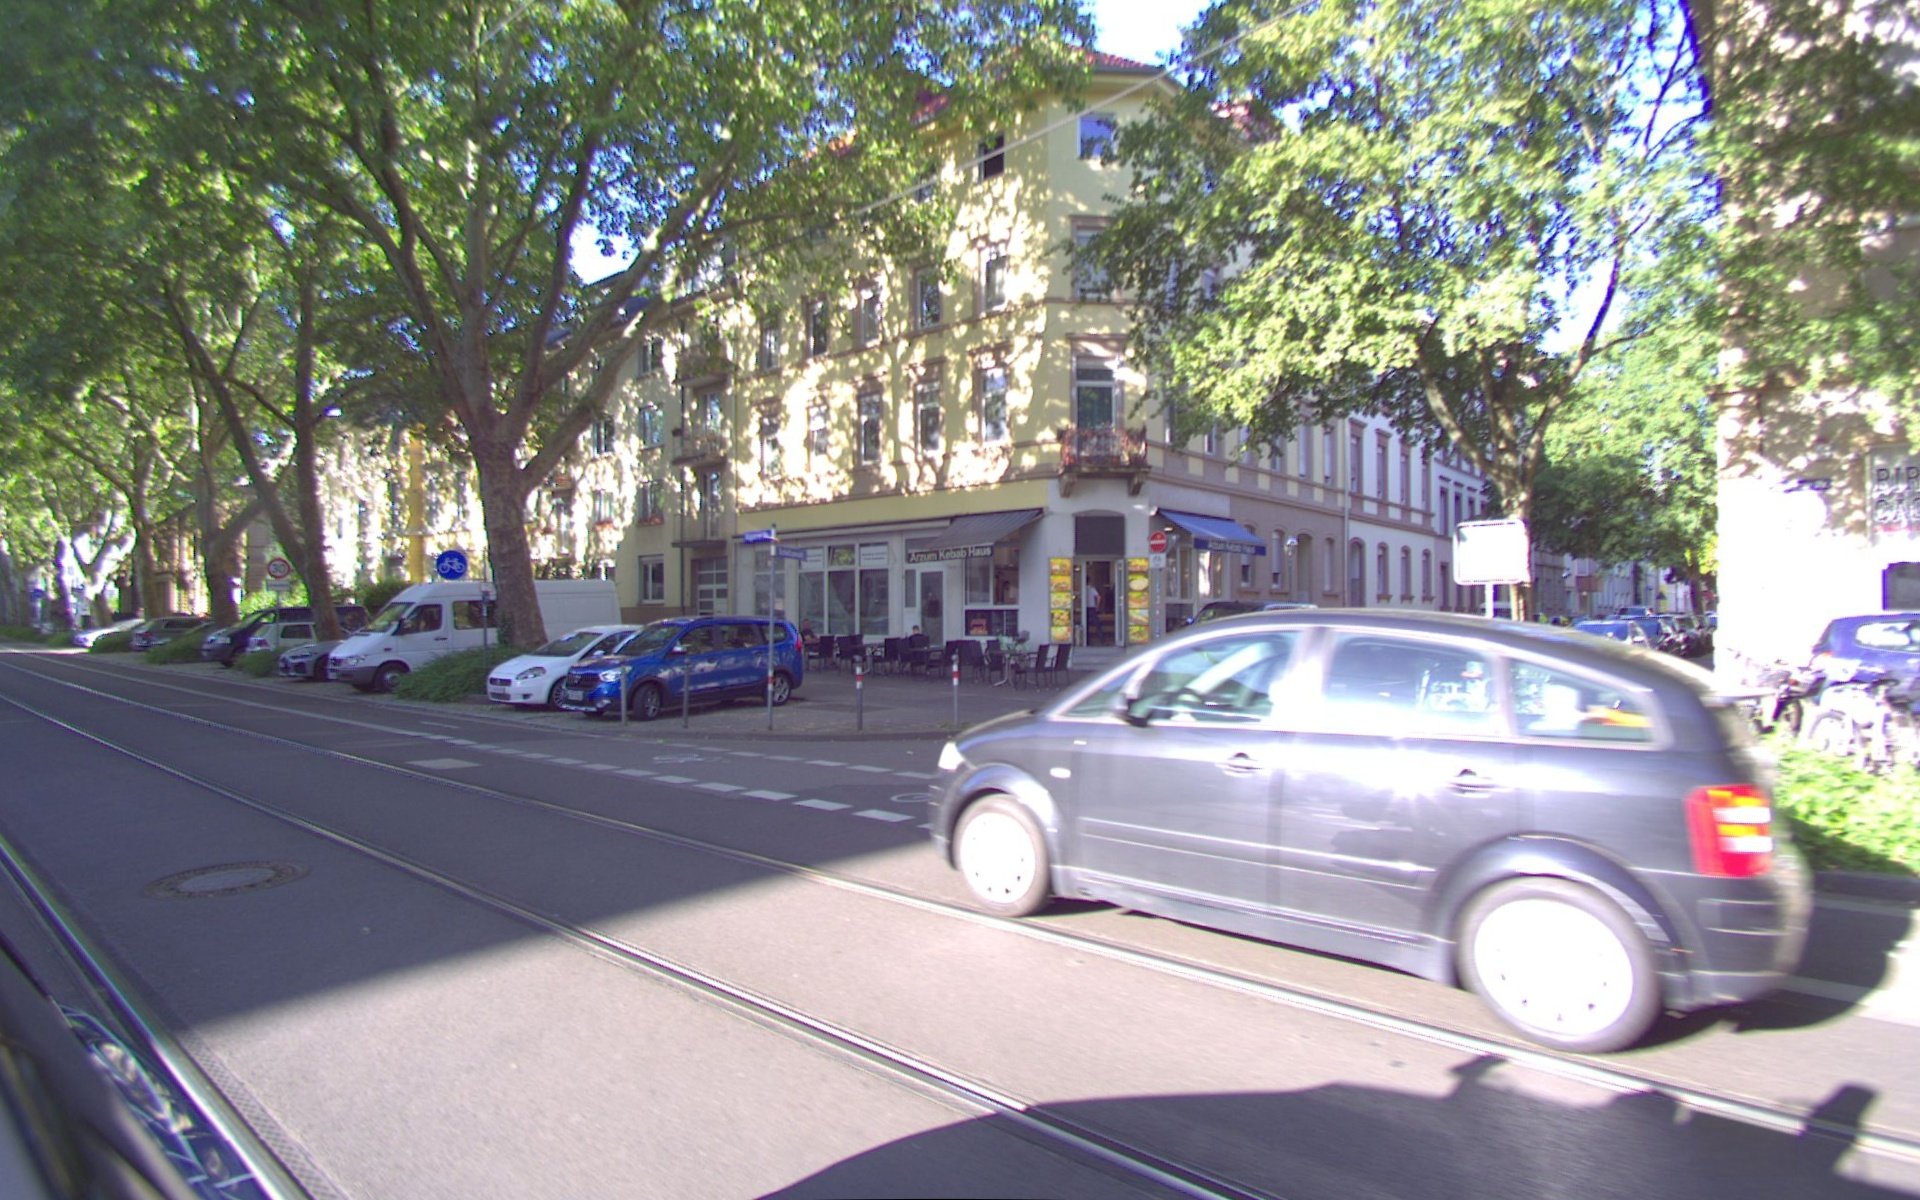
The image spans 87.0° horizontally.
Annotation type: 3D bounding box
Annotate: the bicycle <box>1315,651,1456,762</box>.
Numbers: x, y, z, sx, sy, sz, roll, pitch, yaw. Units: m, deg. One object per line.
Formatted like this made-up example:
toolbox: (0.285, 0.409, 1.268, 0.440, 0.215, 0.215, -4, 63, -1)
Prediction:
bicycle: (4.679, 1.128, 11.075, 1.830, 1.096, 0.397, 0, -1, -31)

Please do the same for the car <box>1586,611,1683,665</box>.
car: (19.207, 1.039, 28.761, 1.756, 1.421, 3.859, -1, -1, 42)

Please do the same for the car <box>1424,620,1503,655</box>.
car: (18.397, 1.341, 36.931, 1.756, 1.186, 3.351, -1, -1, 42)

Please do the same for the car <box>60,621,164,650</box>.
car: (-43.951, 1.827, 52.501, 1.410, 1.385, 3.949, -1, -1, 38)

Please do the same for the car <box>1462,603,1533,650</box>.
car: (21.586, 1.031, 40.581, 1.756, 1.802, 3.351, -1, -1, 42)

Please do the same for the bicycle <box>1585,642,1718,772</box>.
bicycle: (6.444, 0.955, 9.412, 1.536, 1.096, 0.397, 0, -1, -31)

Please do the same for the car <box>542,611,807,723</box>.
car: (-4.885, 1.066, 17.844, 1.814, 1.725, 4.278, -1, -1, 38)

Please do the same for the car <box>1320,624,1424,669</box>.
car: (11.968, 1.320, 29.332, 1.756, 1.186, 3.351, -1, -1, 42)

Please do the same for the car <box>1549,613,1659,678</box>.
car: (16.025, 1.079, 25.111, 1.756, 1.475, 3.351, -1, -1, 42)

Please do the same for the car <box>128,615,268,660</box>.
car: (-31.643, 1.532, 42.099, 1.999, 1.625, 4.309, -2, 0, 41)

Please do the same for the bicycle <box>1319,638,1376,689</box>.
bicycle: (8.510, 1.363, 22.188, 0.628, 1.039, 1.852, -1, -2, 38)

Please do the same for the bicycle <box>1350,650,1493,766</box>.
bicycle: (4.907, 1.108, 10.715, 1.830, 1.096, 0.397, 0, -1, -31)

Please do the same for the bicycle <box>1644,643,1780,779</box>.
bicycle: (6.741, 0.954, 9.050, 1.536, 1.096, 0.397, 0, -1, -31)

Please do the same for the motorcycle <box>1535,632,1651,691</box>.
motorcycle: (12.045, 1.148, 19.317, 1.830, 1.080, 0.526, -1, -1, 29)

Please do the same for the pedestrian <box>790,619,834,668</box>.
pedestrian: (-3.882, 1.136, 26.536, 0.930, 1.250, 0.699, -1, -1, 43)

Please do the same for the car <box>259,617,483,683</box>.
car: (-15.927, 1.300, 27.571, 1.999, 1.456, 4.880, -2, 0, 41)

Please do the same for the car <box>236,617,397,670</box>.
car: (-20.744, 1.363, 32.733, 1.868, 1.456, 4.016, -2, 0, 41)

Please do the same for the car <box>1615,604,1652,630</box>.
car: (46.033, 1.186, 69.164, 1.753, 1.712, 3.354, -1, -1, 39)

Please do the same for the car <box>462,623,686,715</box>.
car: (-7.238, 1.218, 19.301, 1.742, 1.529, 3.741, -1, -1, 31)

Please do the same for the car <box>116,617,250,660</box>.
car: (-33.623, 1.642, 43.879, 1.999, 1.625, 4.309, -2, 0, 41)

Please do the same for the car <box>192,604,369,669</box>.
car: (-22.847, 1.184, 34.165, 1.920, 1.922, 4.581, -2, 0, 40)

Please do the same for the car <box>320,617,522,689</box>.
car: (-13.617, 1.258, 25.746, 1.903, 1.509, 4.103, -1, 1, 40)

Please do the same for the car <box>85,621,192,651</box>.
car: (-41.335, 1.783, 51.009, 1.599, 1.441, 3.949, -1, -1, 38)

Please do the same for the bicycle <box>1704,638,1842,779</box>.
bicycle: (6.977, 0.890, 8.669, 1.536, 1.096, 0.397, 0, -1, -31)

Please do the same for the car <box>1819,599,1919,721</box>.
car: (12.777, 0.716, 12.287, 3.485, 1.471, 1.583, -1, -1, 39)

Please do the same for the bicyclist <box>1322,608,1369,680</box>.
bicyclist: (8.431, 0.942, 22.129, 0.735, 1.538, 0.858, -2, -2, 38)

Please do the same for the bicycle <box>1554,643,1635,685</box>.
bicycle: (13.801, 1.382, 22.032, 1.452, 0.866, 0.393, -1, -1, 43)

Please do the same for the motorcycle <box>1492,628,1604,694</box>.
motorcycle: (12.019, 1.222, 20.741, 0.581, 1.271, 1.877, 1, -1, -43)

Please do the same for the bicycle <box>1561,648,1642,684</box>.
bicycle: (14.232, 1.453, 22.470, 1.452, 0.738, 0.393, -1, -1, 43)

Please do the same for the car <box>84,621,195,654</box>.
car: (-39.683, 1.780, 49.039, 1.526, 1.441, 3.949, -1, -1, 38)

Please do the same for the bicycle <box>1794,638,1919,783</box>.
bicycle: (7.551, 0.878, 8.447, 1.536, 1.096, 0.397, 0, -1, -31)

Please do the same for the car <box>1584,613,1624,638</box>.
car: (39.073, 1.547, 61.381, 1.661, 1.492, 3.354, -1, -1, 39)

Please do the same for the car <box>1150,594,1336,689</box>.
car: (6.537, 0.857, 23.122, 2.130, 1.894, 4.520, 2, 1, 45)

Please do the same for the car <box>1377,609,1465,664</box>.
car: (15.102, 1.169, 33.090, 1.756, 1.706, 3.131, -1, -1, 42)

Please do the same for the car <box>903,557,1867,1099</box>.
car: (1.638, 0.697, 4.675, 3.688, 1.521, 1.619, -1, -3, 40)

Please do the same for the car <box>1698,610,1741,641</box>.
car: (39.649, 1.338, 52.825, 1.606, 1.564, 3.273, -1, -2, 40)

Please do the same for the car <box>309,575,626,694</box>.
car: (-11.554, 0.684, 24.307, 1.999, 2.426, 6.533, -2, 0, 41)

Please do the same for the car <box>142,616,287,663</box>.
car: (-29.602, 1.531, 40.297, 1.999, 1.625, 4.309, -2, 0, 41)

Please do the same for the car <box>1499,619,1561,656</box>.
car: (24.872, 1.616, 44.136, 1.616, 1.505, 3.558, -1, -1, 42)
